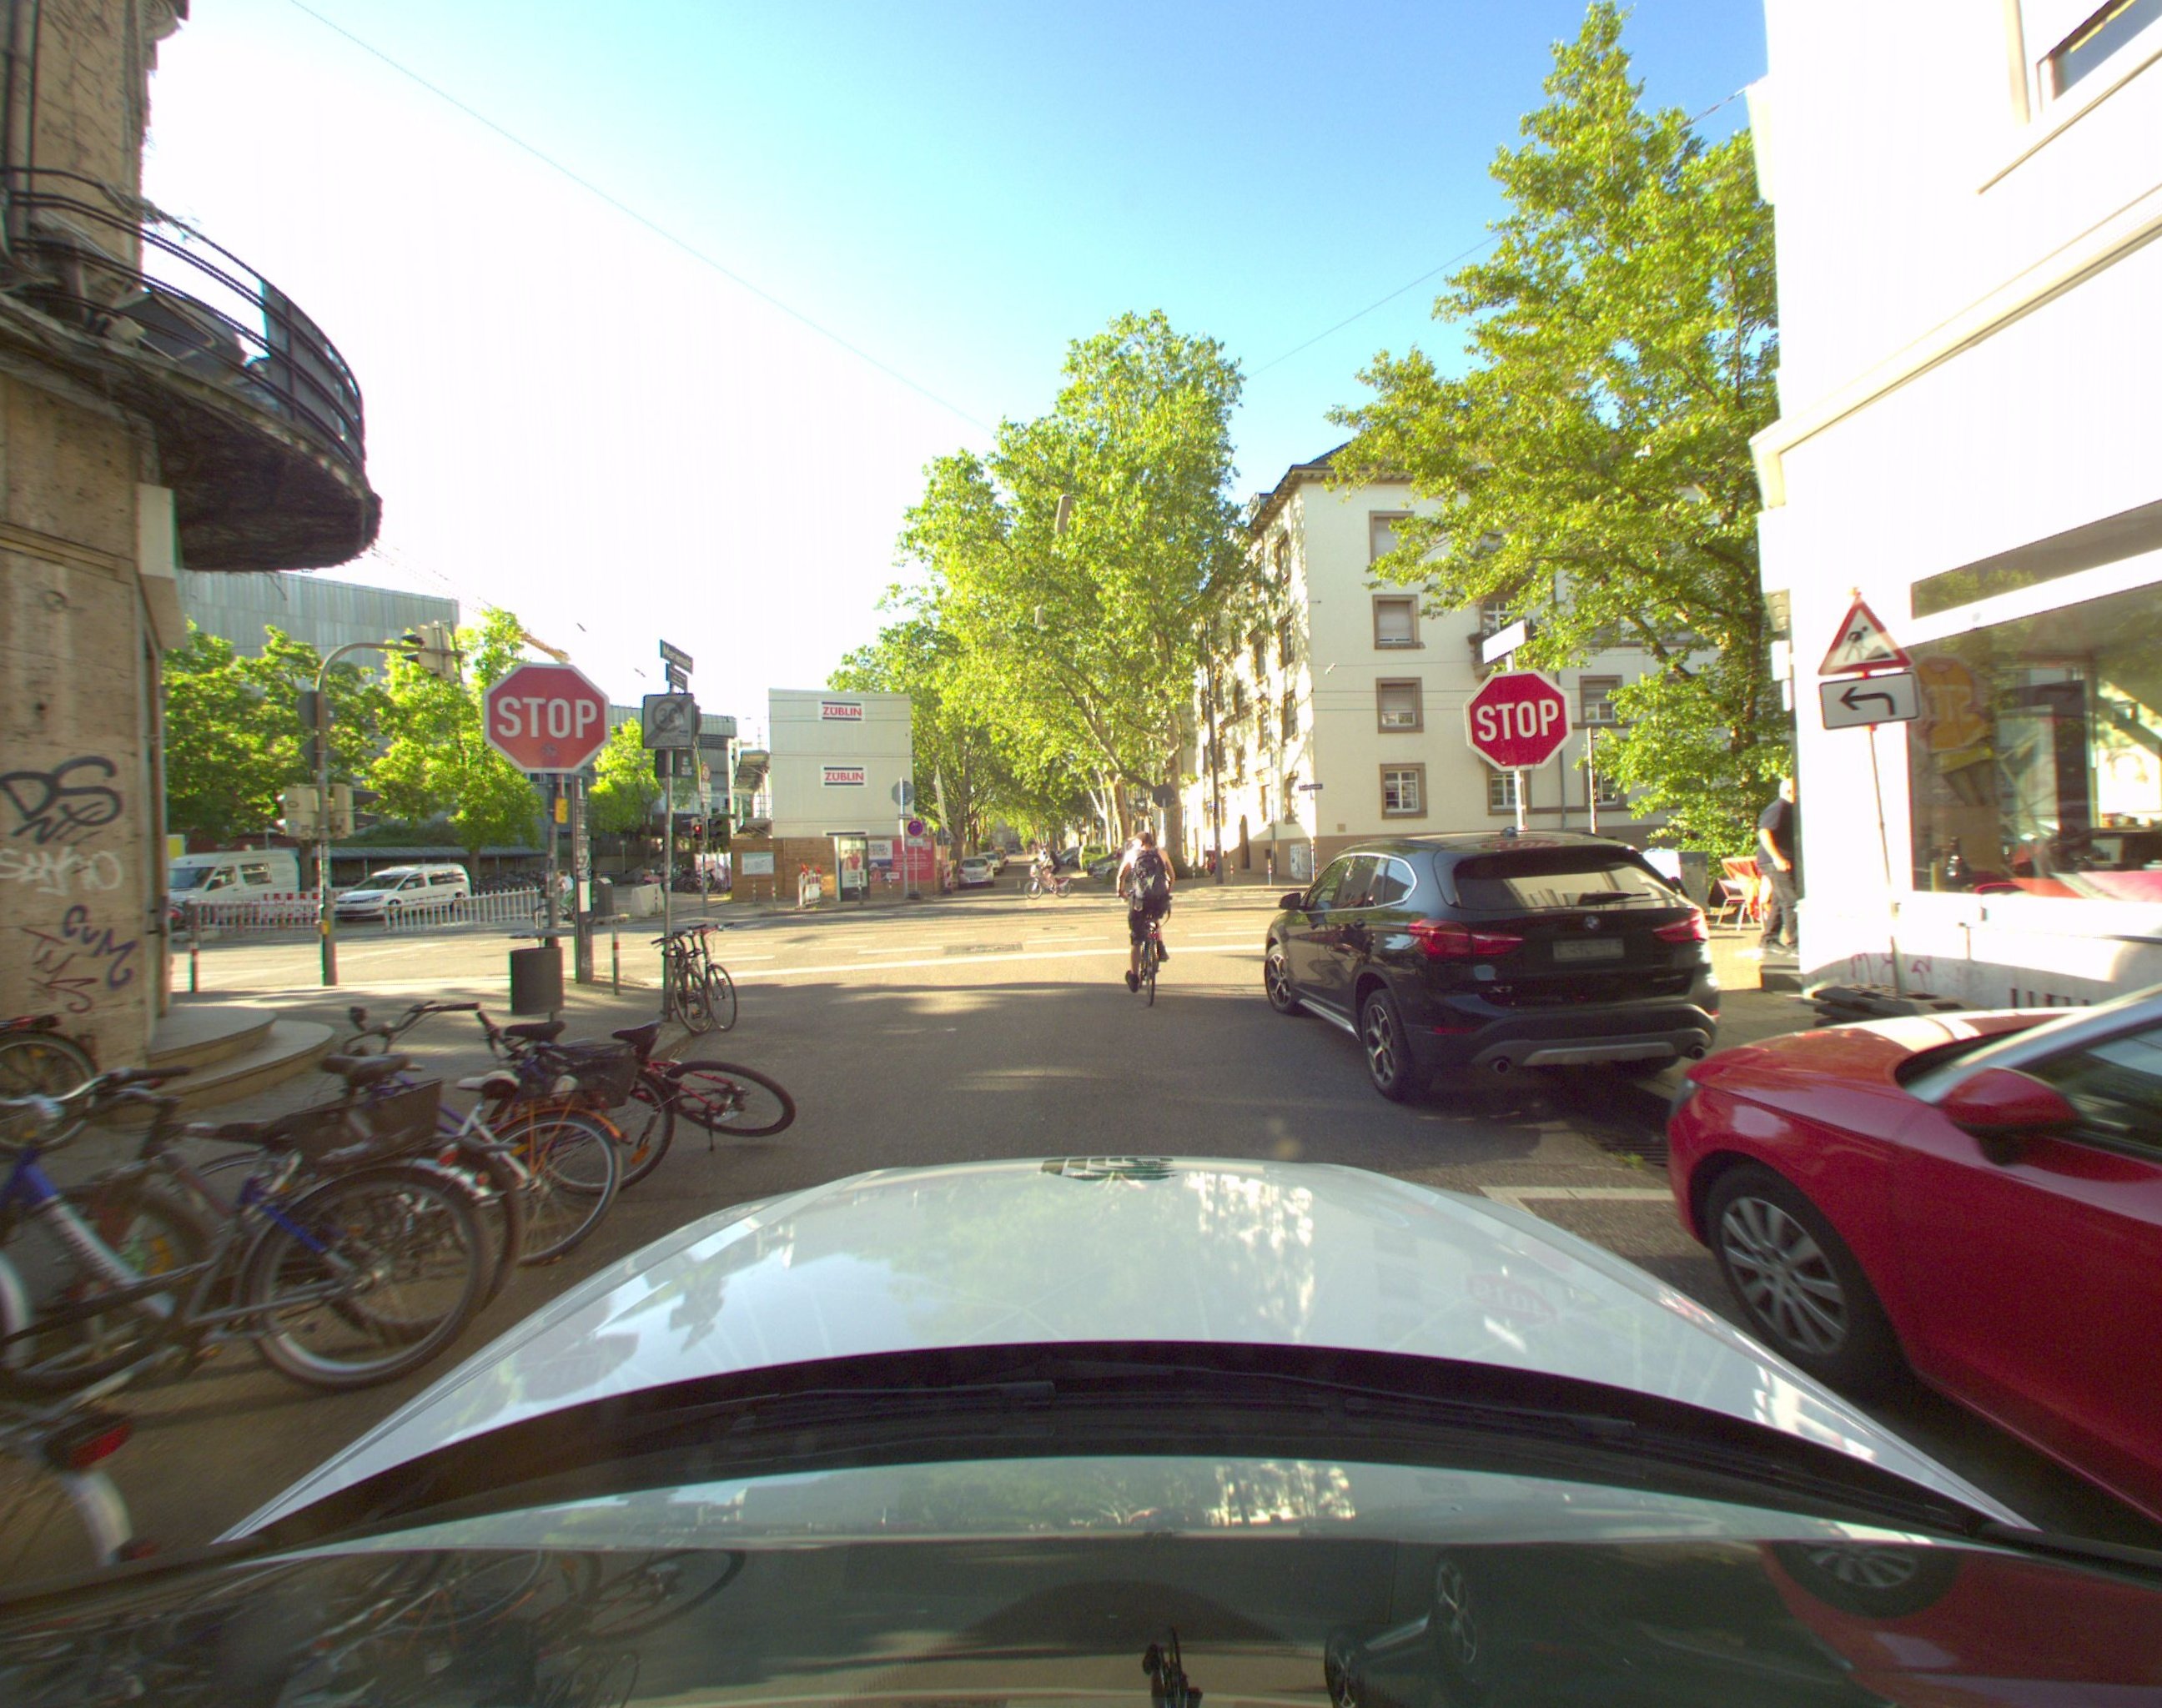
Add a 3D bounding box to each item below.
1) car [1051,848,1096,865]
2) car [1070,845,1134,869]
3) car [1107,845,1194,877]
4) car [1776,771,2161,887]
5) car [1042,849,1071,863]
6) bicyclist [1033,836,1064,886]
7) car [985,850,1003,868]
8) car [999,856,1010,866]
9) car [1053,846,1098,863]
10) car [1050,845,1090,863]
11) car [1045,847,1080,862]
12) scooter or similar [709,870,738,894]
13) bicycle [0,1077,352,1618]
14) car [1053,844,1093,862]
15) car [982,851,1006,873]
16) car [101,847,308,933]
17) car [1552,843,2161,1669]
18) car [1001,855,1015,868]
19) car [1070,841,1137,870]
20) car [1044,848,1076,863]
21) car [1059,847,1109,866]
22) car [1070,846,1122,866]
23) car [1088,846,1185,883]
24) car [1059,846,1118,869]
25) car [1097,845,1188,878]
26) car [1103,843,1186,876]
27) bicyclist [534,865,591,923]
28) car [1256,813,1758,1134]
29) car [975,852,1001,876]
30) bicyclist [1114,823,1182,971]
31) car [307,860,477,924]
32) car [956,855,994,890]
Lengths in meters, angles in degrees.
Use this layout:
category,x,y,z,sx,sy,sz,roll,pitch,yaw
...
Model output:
category,x,y,z,sx,sy,sz,roll,pitch,yaw
car,-0.781,0.260,83.174,4.456,1.571,1.725,-2,0,-6
car,1.509,0.187,59.540,4.456,1.571,1.725,-2,0,-6
car,3.782,0.377,44.552,4.456,1.571,1.725,-2,0,-6
car,14.337,-0.309,13.353,1.625,1.555,4.096,-3,-1,-29
car,-3.876,0.326,127.639,4.456,1.898,1.725,-2,0,-6
bicyclist,-1.136,0.236,28.289,0.813,1.658,0.677,-2,0,-23
car,-8.363,0.471,78.044,1.663,1.562,4.606,-2,0,-6
car,-13.024,1.127,138.399,1.663,1.562,4.209,-2,0,-7
car,-0.600,0.029,85.518,4.456,1.571,1.725,-2,0,-6
car,-1.337,0.033,95.564,4.456,1.898,1.725,-2,0,-6
car,-2.451,0.060,108.306,4.456,1.898,1.725,-2,0,-6
scooter or similar,-16.990,1.326,38.705,0.381,1.020,1.493,-2,1,14
bicycle,-2.777,1.091,1.873,1.759,0.961,0.443,-2,0,0
car,-0.938,-0.142,92.827,4.456,1.898,1.725,-2,0,-6
car,-6.594,0.563,61.422,1.663,1.562,4.508,-2,0,-6
car,-31.516,1.169,29.619,1.992,2.530,5.368,-2,3,-8
car,2.788,0.730,1.447,1.640,1.503,3.955,-1,0,0
car,-9.637,0.994,107.808,1.663,1.562,4.209,-2,0,-7
car,1.580,0.127,57.525,4.457,1.836,1.724,-2,0,-7
car,-3.007,0.178,115.708,4.456,1.898,1.725,-2,0,-6
car,0.227,0.217,76.008,4.456,1.571,1.725,-2,0,-6
car,1.352,0.162,72.903,4.456,1.571,1.725,-2,0,-6
car,2.677,0.477,39.607,4.456,1.571,1.725,-2,0,-6
car,0.566,0.268,63.401,4.456,1.571,1.725,-2,0,-6
car,3.141,0.370,42.115,4.456,1.500,1.725,-2,0,-6
car,3.600,0.311,46.628,4.456,1.671,1.725,-2,0,-6
bicyclist,-15.413,1.183,24.238,1.095,1.640,0.894,-2,-1,-5
car,2.694,0.619,6.380,1.754,1.662,4.197,-1,0,0
car,-6.373,0.658,55.715,1.663,1.562,3.991,-2,0,-7
bicyclist,0.702,0.440,8.680,0.673,1.513,0.669,-1,0,2
car,-25.445,1.329,30.401,1.997,1.892,4.948,-2,2,0
car,-5.117,0.844,39.656,1.642,1.494,3.991,-5,1,-7
